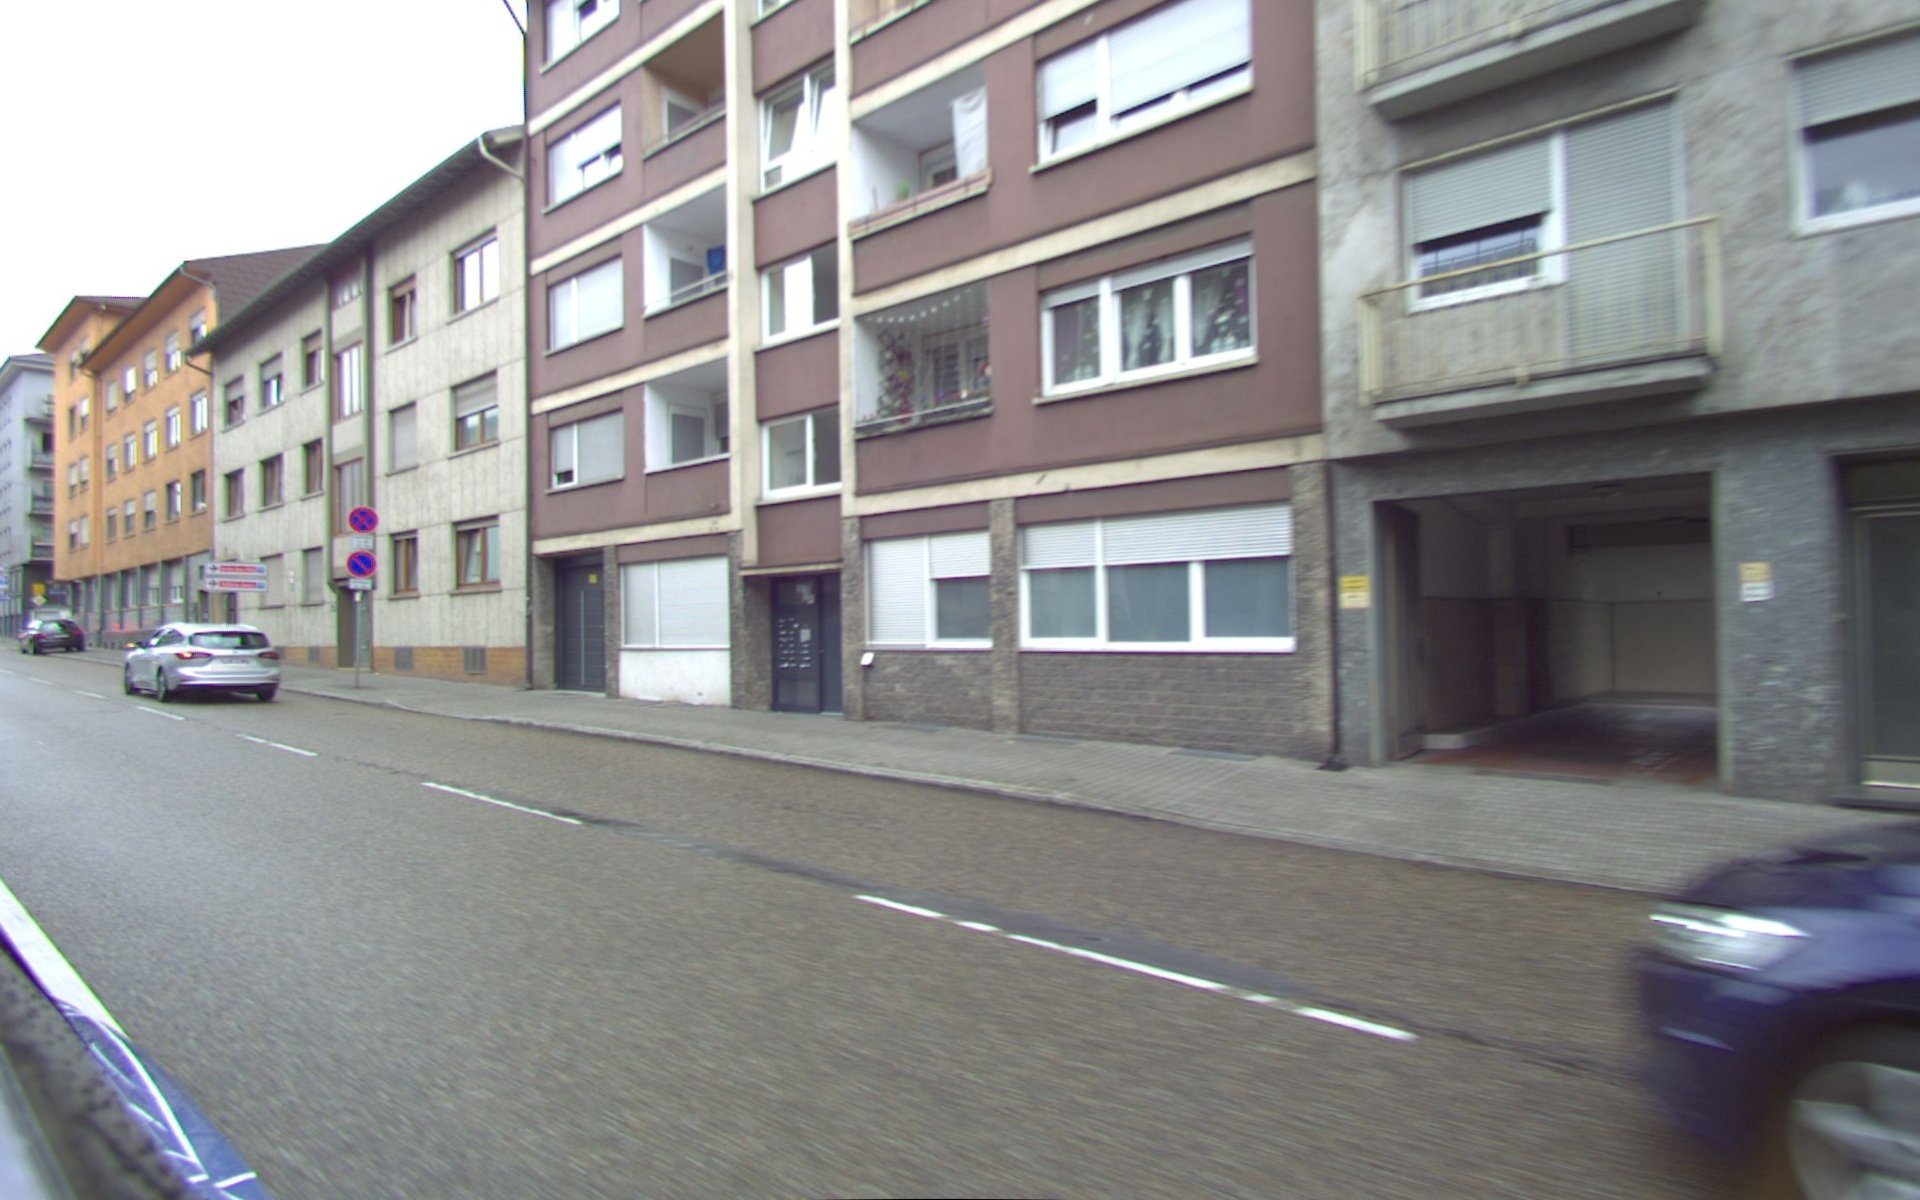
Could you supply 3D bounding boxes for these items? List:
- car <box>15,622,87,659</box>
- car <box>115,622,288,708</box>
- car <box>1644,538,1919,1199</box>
[{"bbox_3d":[-39.321,1.725,43.760,3.799,1.466,1.687,-1,0,38],"label":"car"},{"bbox_3d":[-14.682,1.200,19.521,4.068,1.472,1.710,-1,-4,40],"label":"car"},{"bbox_3d":[3.737,0.642,1.292,1.967,1.587,4.319,0,-1,-36],"label":"car"}]
